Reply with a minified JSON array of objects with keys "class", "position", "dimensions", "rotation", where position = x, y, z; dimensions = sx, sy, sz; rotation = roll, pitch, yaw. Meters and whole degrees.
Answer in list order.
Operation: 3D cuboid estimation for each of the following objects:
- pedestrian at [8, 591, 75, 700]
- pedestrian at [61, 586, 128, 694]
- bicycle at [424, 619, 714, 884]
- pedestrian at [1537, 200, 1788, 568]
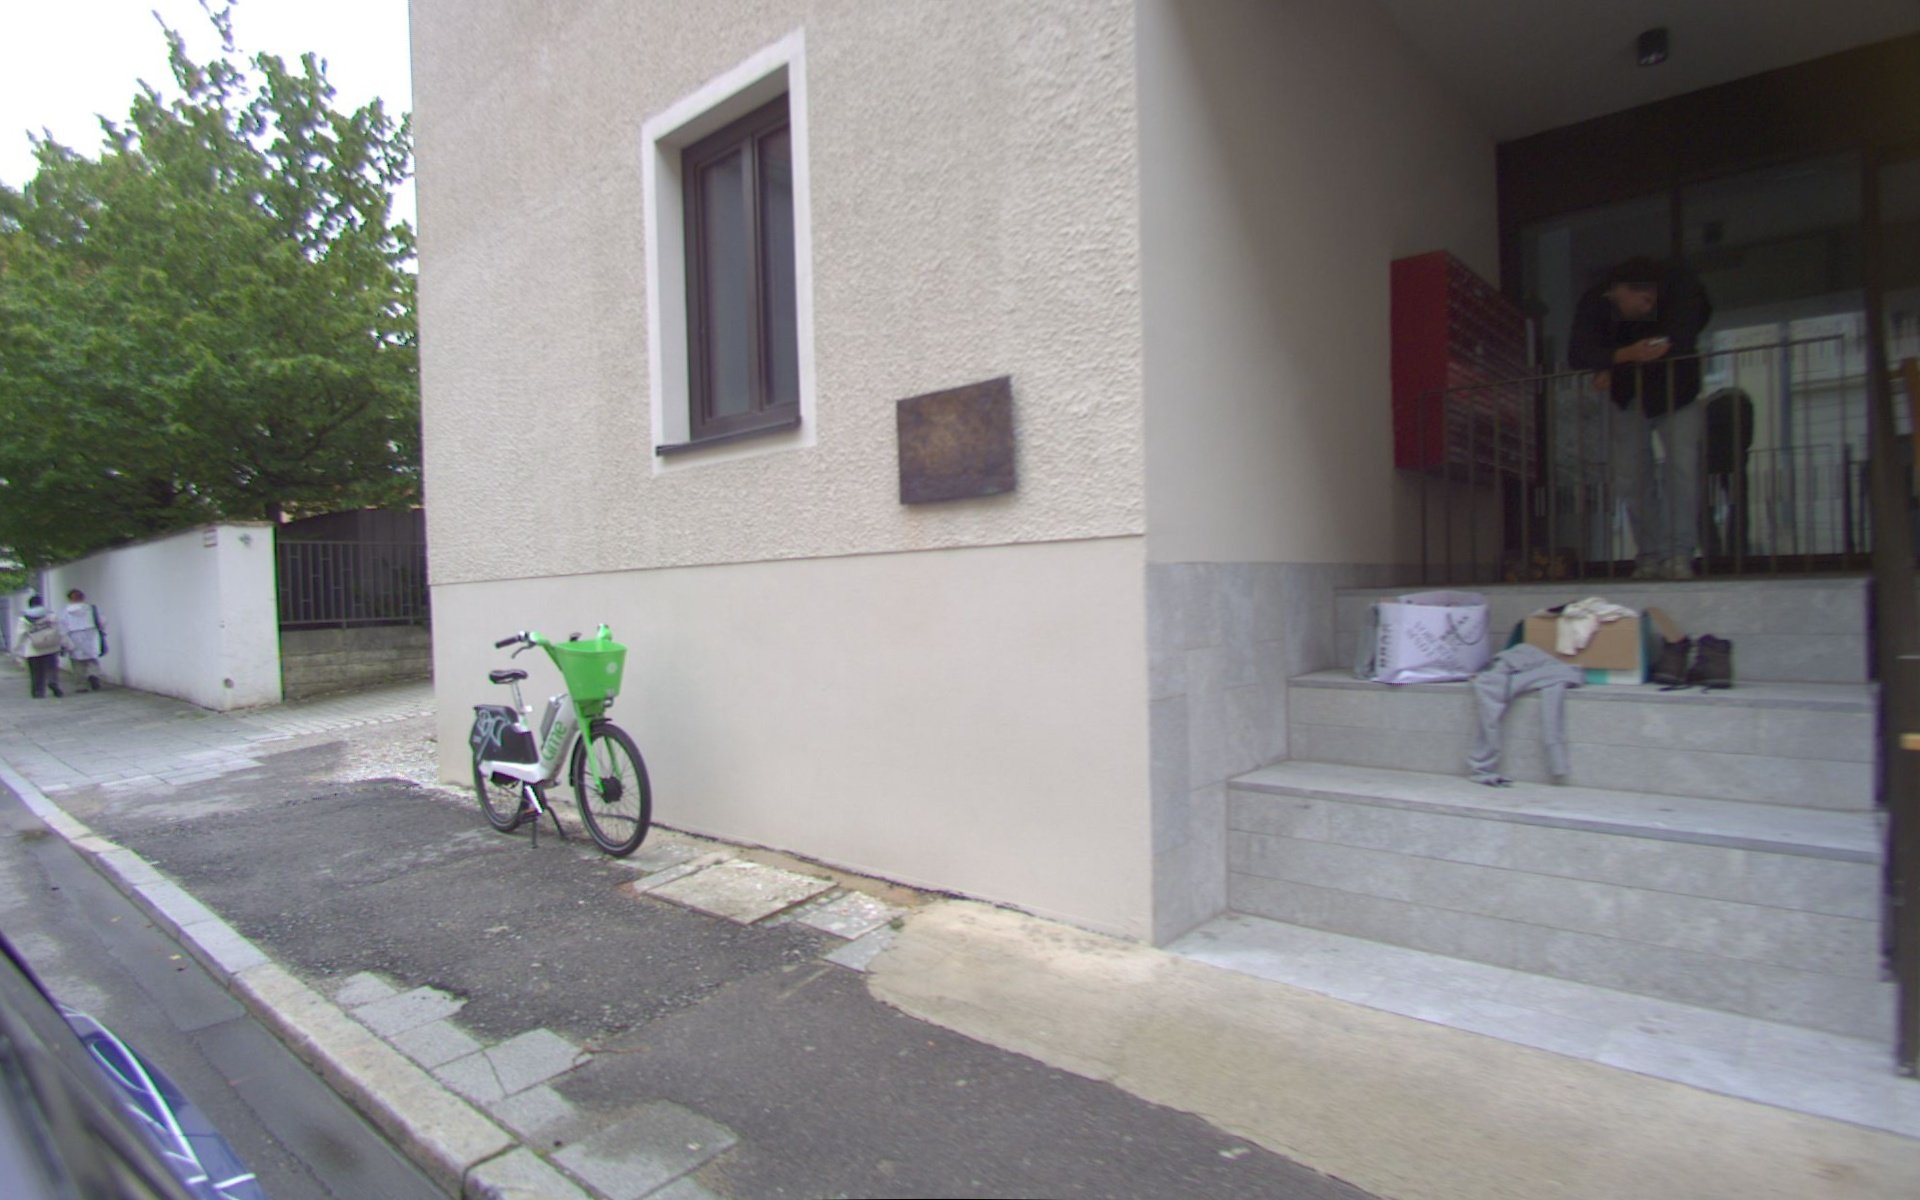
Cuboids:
[{"class":"pedestrian","position":[-14.042,0.677,15.473],"dimensions":[0.713,1.590,0.616],"rotation":[-1,2,41]},{"class":"pedestrian","position":[-13.678,0.617,15.997],"dimensions":[0.687,1.633,0.607],"rotation":[-1,3,41]},{"class":"bicycle","position":[-2.119,0.692,5.329],"dimensions":[1.916,1.147,0.532],"rotation":[-1,2,41]},{"class":"pedestrian","position":[3.348,-0.916,4.811],"dimensions":[0.994,1.495,0.760],"rotation":[-1,0,-42]}]
